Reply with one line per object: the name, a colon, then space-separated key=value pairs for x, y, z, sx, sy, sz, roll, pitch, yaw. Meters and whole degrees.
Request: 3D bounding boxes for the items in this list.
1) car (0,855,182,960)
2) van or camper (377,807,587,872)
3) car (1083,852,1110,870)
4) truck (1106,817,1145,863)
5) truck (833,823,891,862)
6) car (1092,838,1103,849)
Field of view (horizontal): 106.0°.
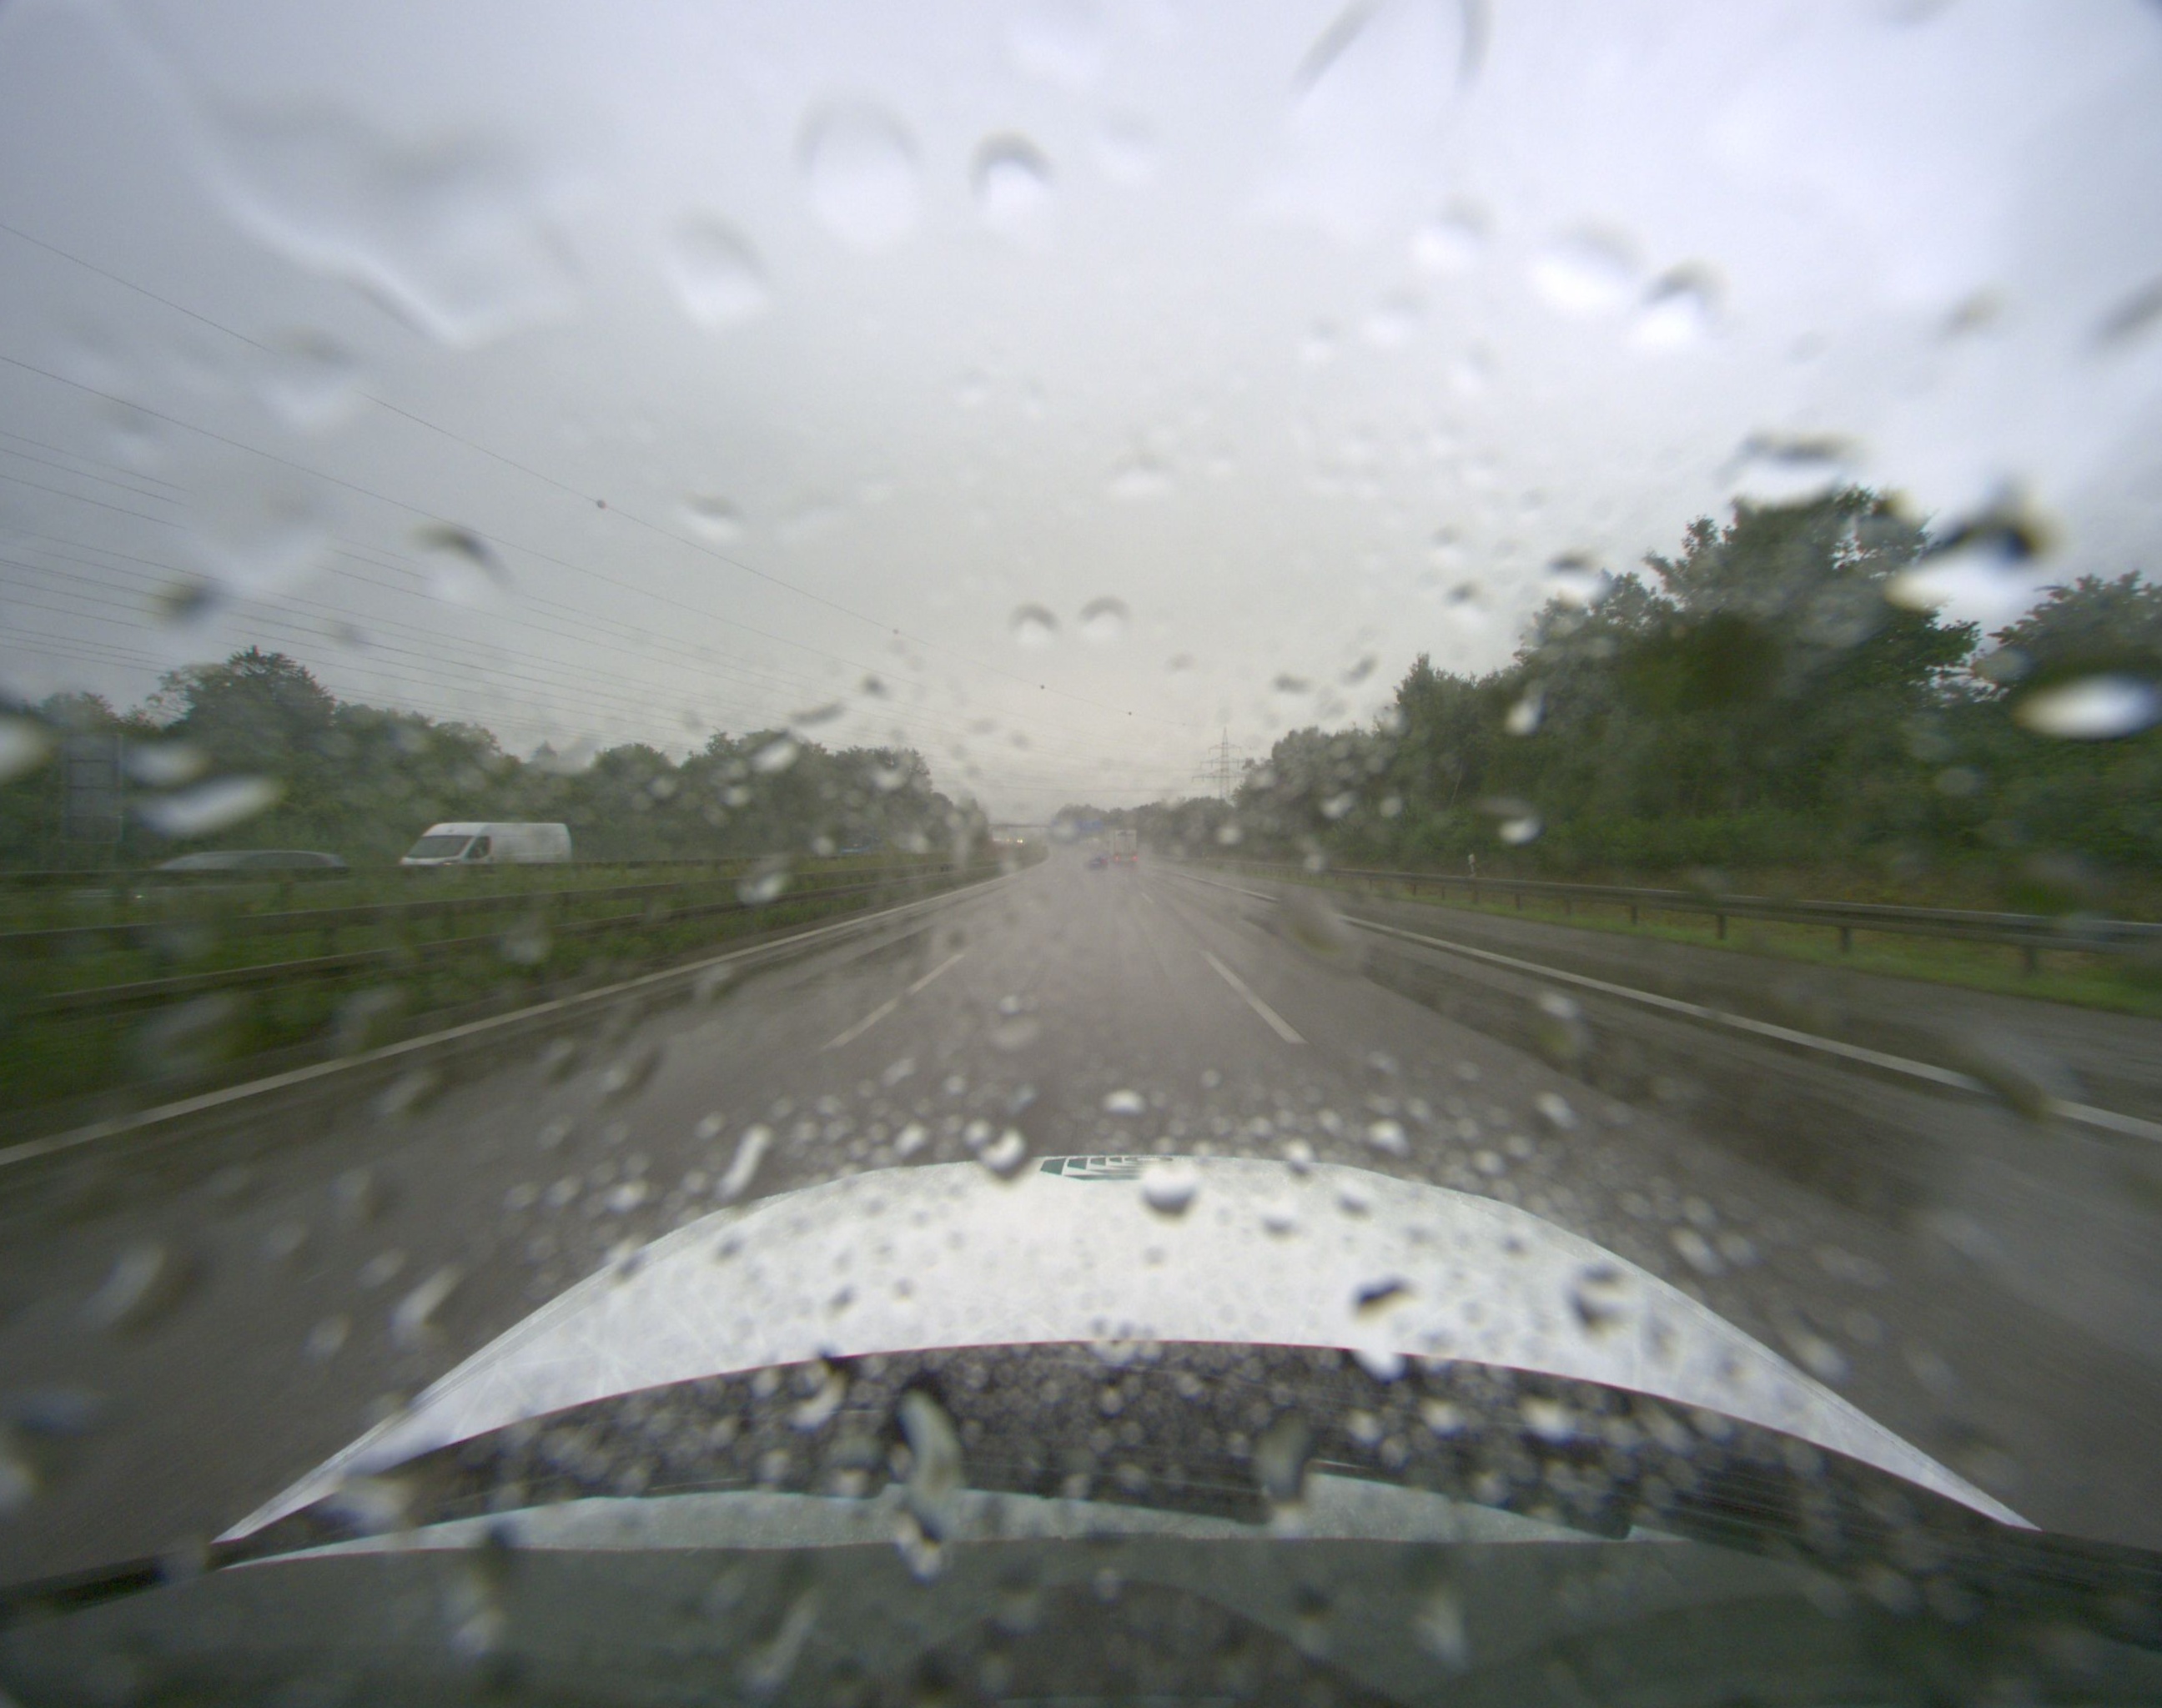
car: x=-16.436 y=0.824 z=12.591 sx=1.301 sy=1.503 sz=3.259 roll=-3 pitch=0 yaw=2
van or camper: x=-20.932 y=-0.486 z=29.061 sx=2.269 sy=1.972 sz=6.762 roll=2 pitch=1 yaw=2
car: x=1.161 y=0.518 z=60.227 sx=1.741 sy=1.212 sz=4.005 roll=2 pitch=0 yaw=4
truck: x=5.368 y=-1.588 z=98.348 sx=4.239 sy=4.972 sz=17.354 roll=-2 pitch=0 yaw=3
truck: x=-19.934 y=-1.006 z=74.501 sx=3.058 sy=3.276 sz=7.392 roll=3 pitch=0 yaw=1
car: x=3.640 y=-2.295 z=181.950 sx=2.385 sy=2.272 sz=5.003 roll=1 pitch=1 yaw=1
